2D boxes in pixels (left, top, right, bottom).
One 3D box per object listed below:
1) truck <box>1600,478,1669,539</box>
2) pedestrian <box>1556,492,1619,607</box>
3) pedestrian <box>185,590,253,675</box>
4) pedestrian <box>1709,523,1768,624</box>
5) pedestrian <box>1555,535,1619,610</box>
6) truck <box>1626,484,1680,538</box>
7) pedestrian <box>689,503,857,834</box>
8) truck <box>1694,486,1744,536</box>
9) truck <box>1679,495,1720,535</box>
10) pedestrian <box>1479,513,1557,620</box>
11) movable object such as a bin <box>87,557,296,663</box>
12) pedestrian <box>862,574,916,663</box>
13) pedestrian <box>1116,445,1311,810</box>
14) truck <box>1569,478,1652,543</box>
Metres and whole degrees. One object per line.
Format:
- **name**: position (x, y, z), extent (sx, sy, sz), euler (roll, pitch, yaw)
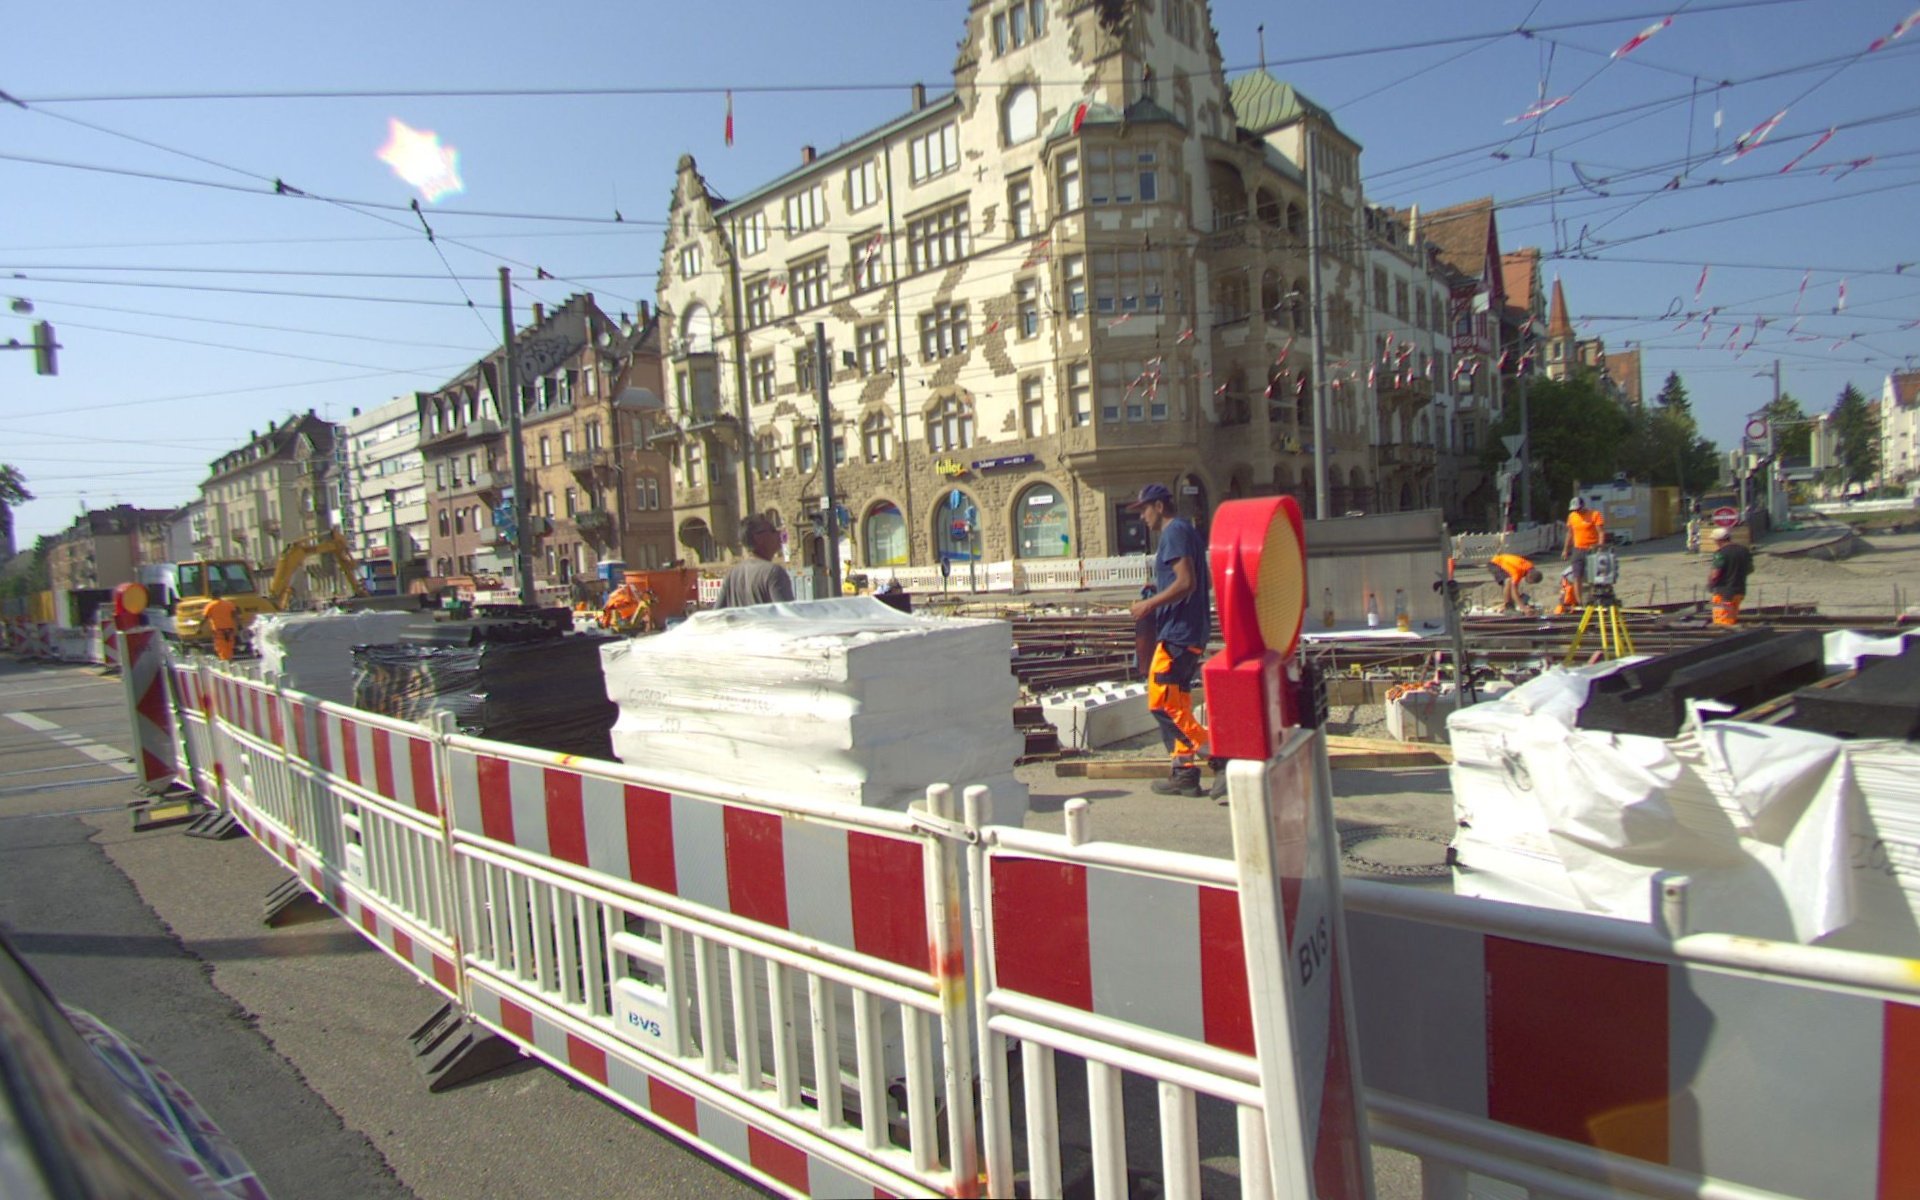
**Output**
- **truck**: position (37.863, -5.111, 56.727), extent (2.628, 3.066, 6.276), euler (-2, 3, 39)
- **pedestrian**: position (9.684, -0.777, 15.614), extent (0.678, 1.715, 0.743), euler (-1, 3, 41)
- **pedestrian**: position (-15.919, 0.699, 21.752), extent (0.906, 1.752, 0.697), euler (-2, 2, 21)
- **pedestrian**: position (10.028, -0.345, 13.025), extent (0.547, 1.256, 0.669), euler (-1, 2, 40)
- **pedestrian**: position (10.335, -0.443, 16.670), extent (0.865, 1.192, 0.723), euler (0, 1, 35)
- **truck**: position (43.467, -5.572, 63.401), extent (2.236, 3.066, 6.276), euler (-2, 3, 39)
- **pedestrian**: position (-1.063, 0.374, 5.803), extent (0.715, 1.788, 0.462), euler (-2, 2, 23)
- **truck**: position (47.297, -5.539, 62.992), extent (2.236, 2.810, 6.276), euler (-2, 3, 39)
- **truck**: position (55.934, -6.424, 76.520), extent (2.236, 2.810, 5.526), euler (-2, 3, 39)
- **pedestrian**: position (8.616, -0.520, 15.646), extent (0.727, 1.568, 0.753), euler (-3, 2, 0)
- **movable object such as a bin**: position (-19.145, 0.199, 25.335), extent (2.900, 2.427, 3.148), euler (0, 1, 22)
- **pedestrian**: position (-1.044, 0.263, 14.889), extent (0.544, 1.256, 0.543), euler (-2, 2, 25)
- **pedestrian**: position (1.385, 0.133, 5.707), extent (0.791, 1.854, 0.921), euler (-3, 2, 1)
- **truck**: position (32.106, -4.364, 49.859), extent (2.689, 2.835, 5.963), euler (-2, 3, 39)
